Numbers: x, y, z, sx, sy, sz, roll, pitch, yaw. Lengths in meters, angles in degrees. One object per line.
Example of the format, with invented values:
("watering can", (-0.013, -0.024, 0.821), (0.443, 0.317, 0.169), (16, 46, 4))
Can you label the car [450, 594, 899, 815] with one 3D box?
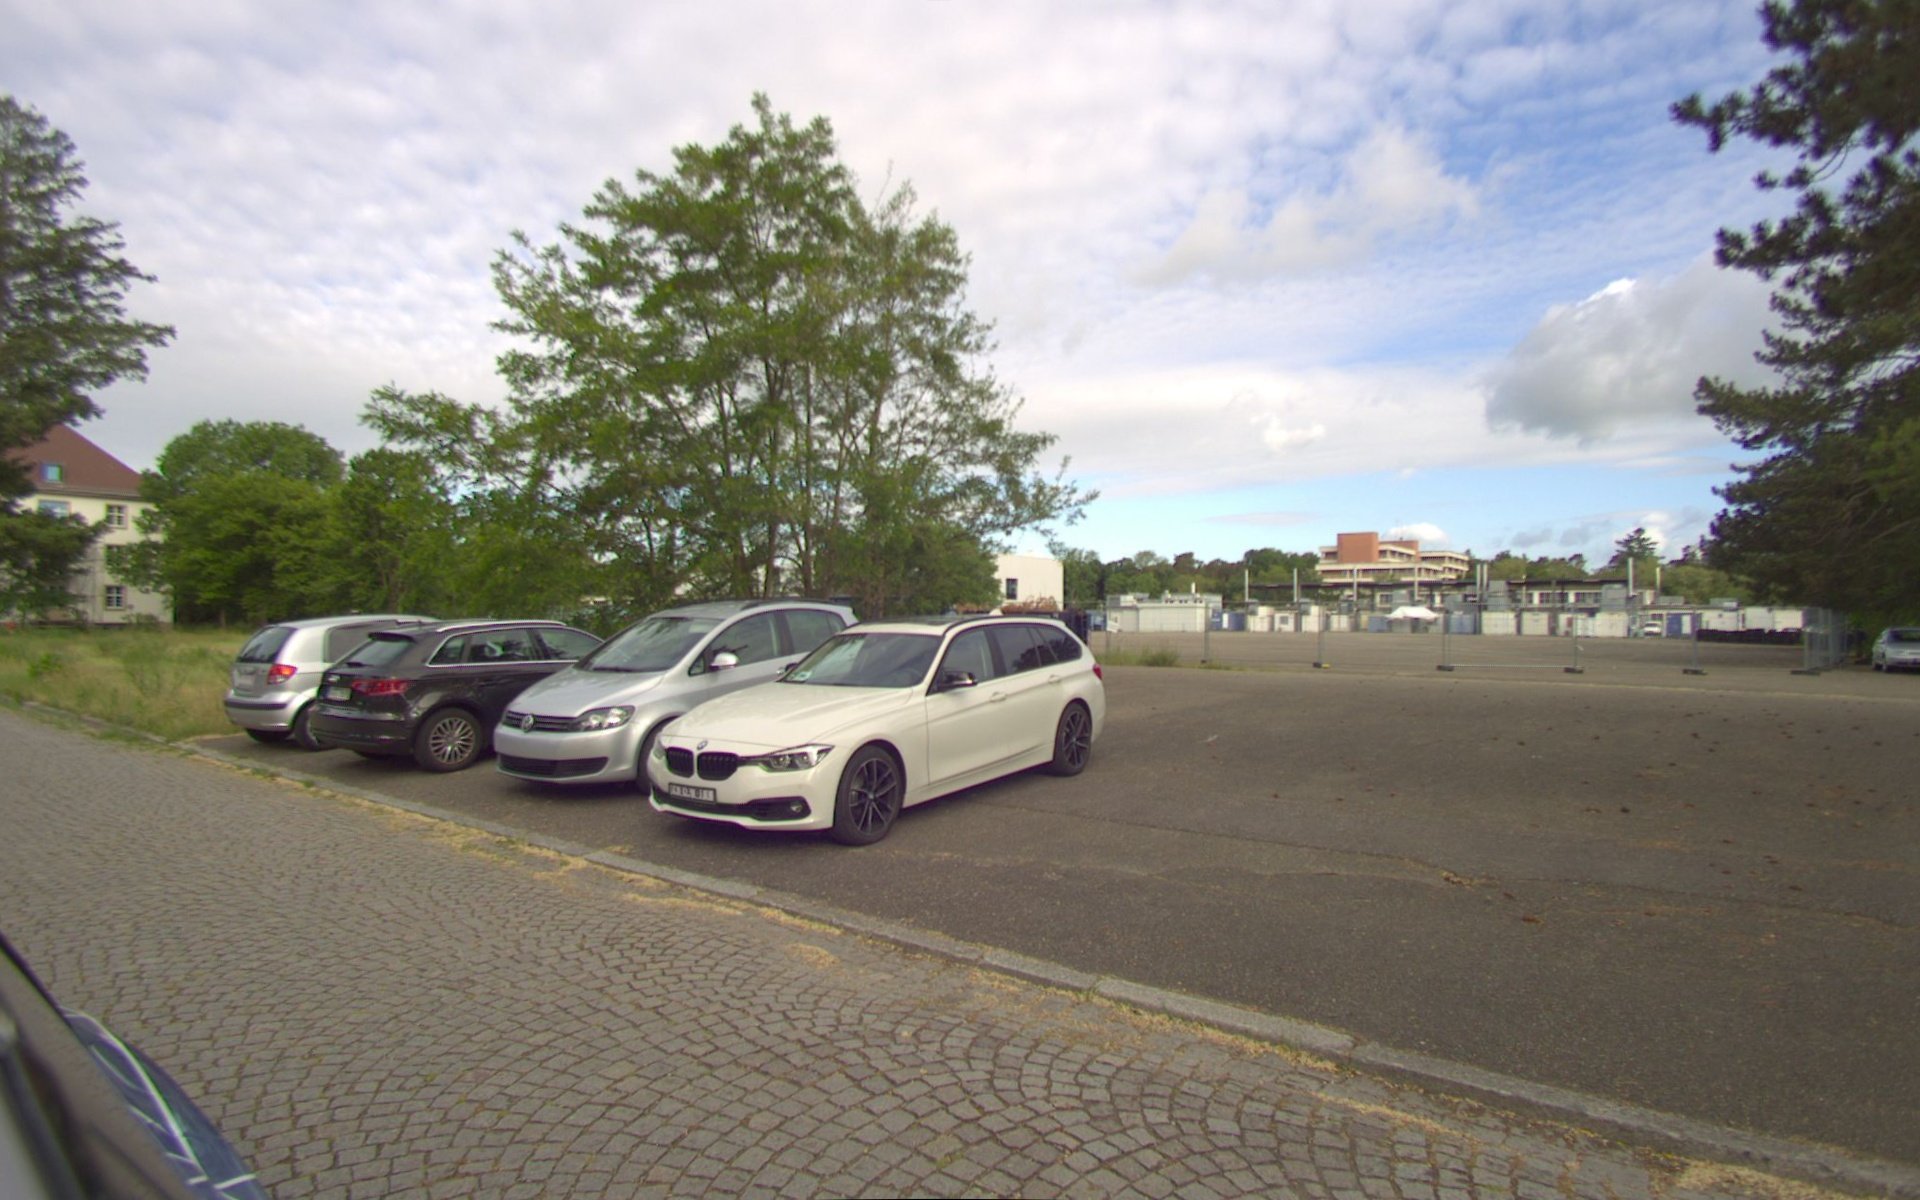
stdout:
("car", (-2.466, 0.777, 9.661), (1.720, 1.559, 3.955), (-1, 1, 34))

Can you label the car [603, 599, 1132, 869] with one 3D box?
("car", (-0.393, 0.790, 8.298), (1.797, 1.454, 4.608), (-1, 1, 34))

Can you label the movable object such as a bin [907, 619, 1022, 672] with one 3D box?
("movable object such as a bin", (0.133, 1.026, 23.791), (1.500, 1.170, 2.365), (-1, -2, 43))

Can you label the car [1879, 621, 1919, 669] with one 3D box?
("car", (29.811, 1.351, 31.253), (1.694, 1.403, 3.951), (-1, -1, 36))

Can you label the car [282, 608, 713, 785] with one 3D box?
("car", (-4.856, 0.882, 11.116), (1.748, 1.438, 3.950), (-1, 1, 37))

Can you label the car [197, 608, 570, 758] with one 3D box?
("car", (-7.073, 0.902, 12.740), (1.803, 1.463, 3.648), (-1, 1, 34))
